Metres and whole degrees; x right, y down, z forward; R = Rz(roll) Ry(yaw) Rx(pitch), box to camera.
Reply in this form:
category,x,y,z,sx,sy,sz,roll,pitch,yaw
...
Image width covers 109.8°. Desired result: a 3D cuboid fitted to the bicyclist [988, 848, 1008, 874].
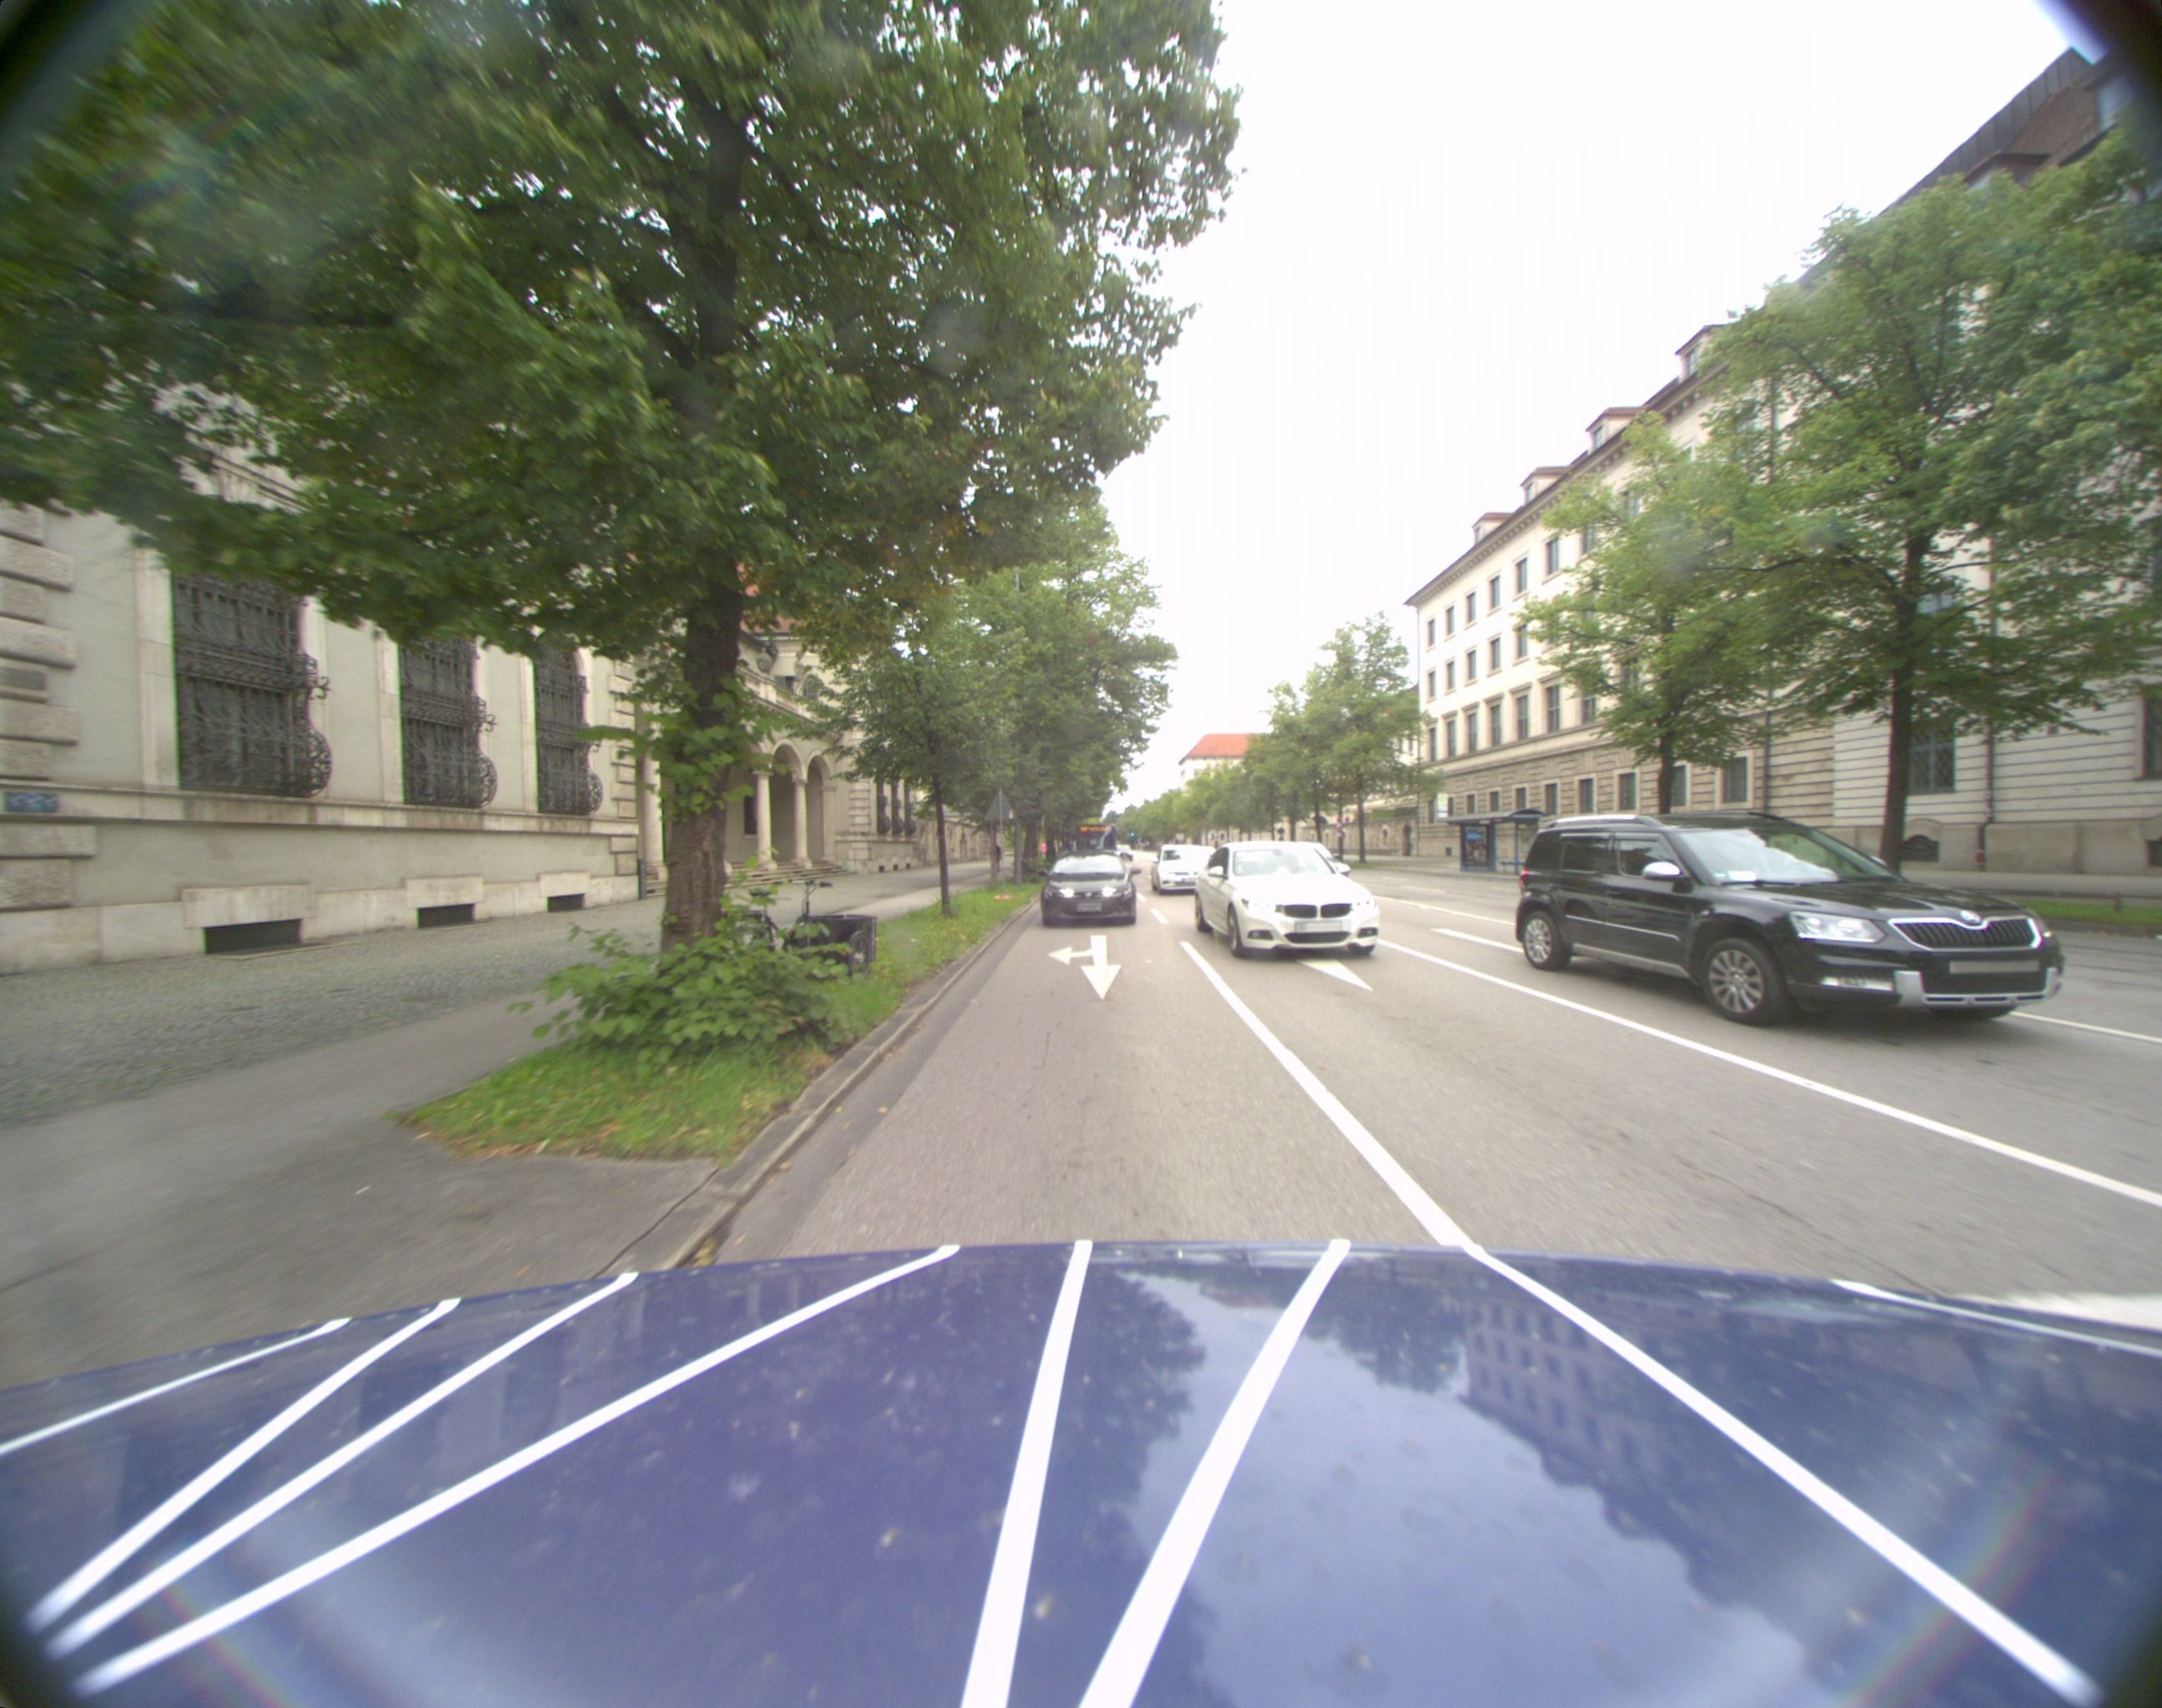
category,x,y,z,sx,sy,sz,roll,pitch,yaw
bicyclist,-4.195,0.349,38.393,0.808,1.305,0.893,-2,1,1

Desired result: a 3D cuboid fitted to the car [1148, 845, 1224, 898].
category,x,y,z,sx,sy,sz,roll,pitch,yaw
car,3.118,0.474,23.382,1.797,1.439,4.274,-1,1,1

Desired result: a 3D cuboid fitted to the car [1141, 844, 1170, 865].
category,x,y,z,sx,sy,sz,roll,pitch,yaw
car,5.476,-0.016,56.394,1.797,1.439,4.274,-1,1,1

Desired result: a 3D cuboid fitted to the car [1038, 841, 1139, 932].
category,x,y,z,sx,sy,sz,roll,pitch,yaw
car,0.160,0.553,15.821,1.797,1.627,4.274,-1,1,1

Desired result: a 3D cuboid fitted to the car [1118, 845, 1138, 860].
category,x,y,z,sx,sy,sz,roll,pitch,yaw
car,4.648,-0.193,75.943,1.797,1.439,4.274,-1,1,1

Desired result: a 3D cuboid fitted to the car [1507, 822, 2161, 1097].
category,x,y,z,sx,sy,sz,roll,pitch,yaw
car,5.741,0.599,6.636,1.727,1.627,4.204,-1,1,1

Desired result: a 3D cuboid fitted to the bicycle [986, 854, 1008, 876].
category,x,y,z,sx,sy,sz,roll,pitch,yaw
bicycle,-4.223,0.531,38.303,0.830,1.001,2.058,-2,1,1

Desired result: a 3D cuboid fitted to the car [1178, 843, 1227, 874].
category,x,y,z,sx,sy,sz,roll,pitch,yaw
car,6.038,0.177,38.171,1.797,1.439,4.274,-1,1,1

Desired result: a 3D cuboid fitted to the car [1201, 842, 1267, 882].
category,x,y,z,sx,sy,sz,roll,pitch,yaw
car,5.969,0.272,30.174,1.797,1.439,4.274,-1,1,1

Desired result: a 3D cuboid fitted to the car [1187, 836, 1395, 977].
category,x,y,z,sx,sy,sz,roll,pitch,yaw
car,2.809,0.573,11.412,1.797,1.627,5.025,-1,1,1

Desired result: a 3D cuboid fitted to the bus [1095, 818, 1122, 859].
category,x,y,z,sx,sy,sz,roll,pitch,yaw
bus,1.794,-1.006,50.777,1.638,2.570,6.701,-1,1,1

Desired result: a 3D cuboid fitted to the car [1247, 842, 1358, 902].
category,x,y,z,sx,sy,sz,roll,pitch,yaw
car,5.799,0.399,20.426,1.797,1.439,4.274,-1,1,1
